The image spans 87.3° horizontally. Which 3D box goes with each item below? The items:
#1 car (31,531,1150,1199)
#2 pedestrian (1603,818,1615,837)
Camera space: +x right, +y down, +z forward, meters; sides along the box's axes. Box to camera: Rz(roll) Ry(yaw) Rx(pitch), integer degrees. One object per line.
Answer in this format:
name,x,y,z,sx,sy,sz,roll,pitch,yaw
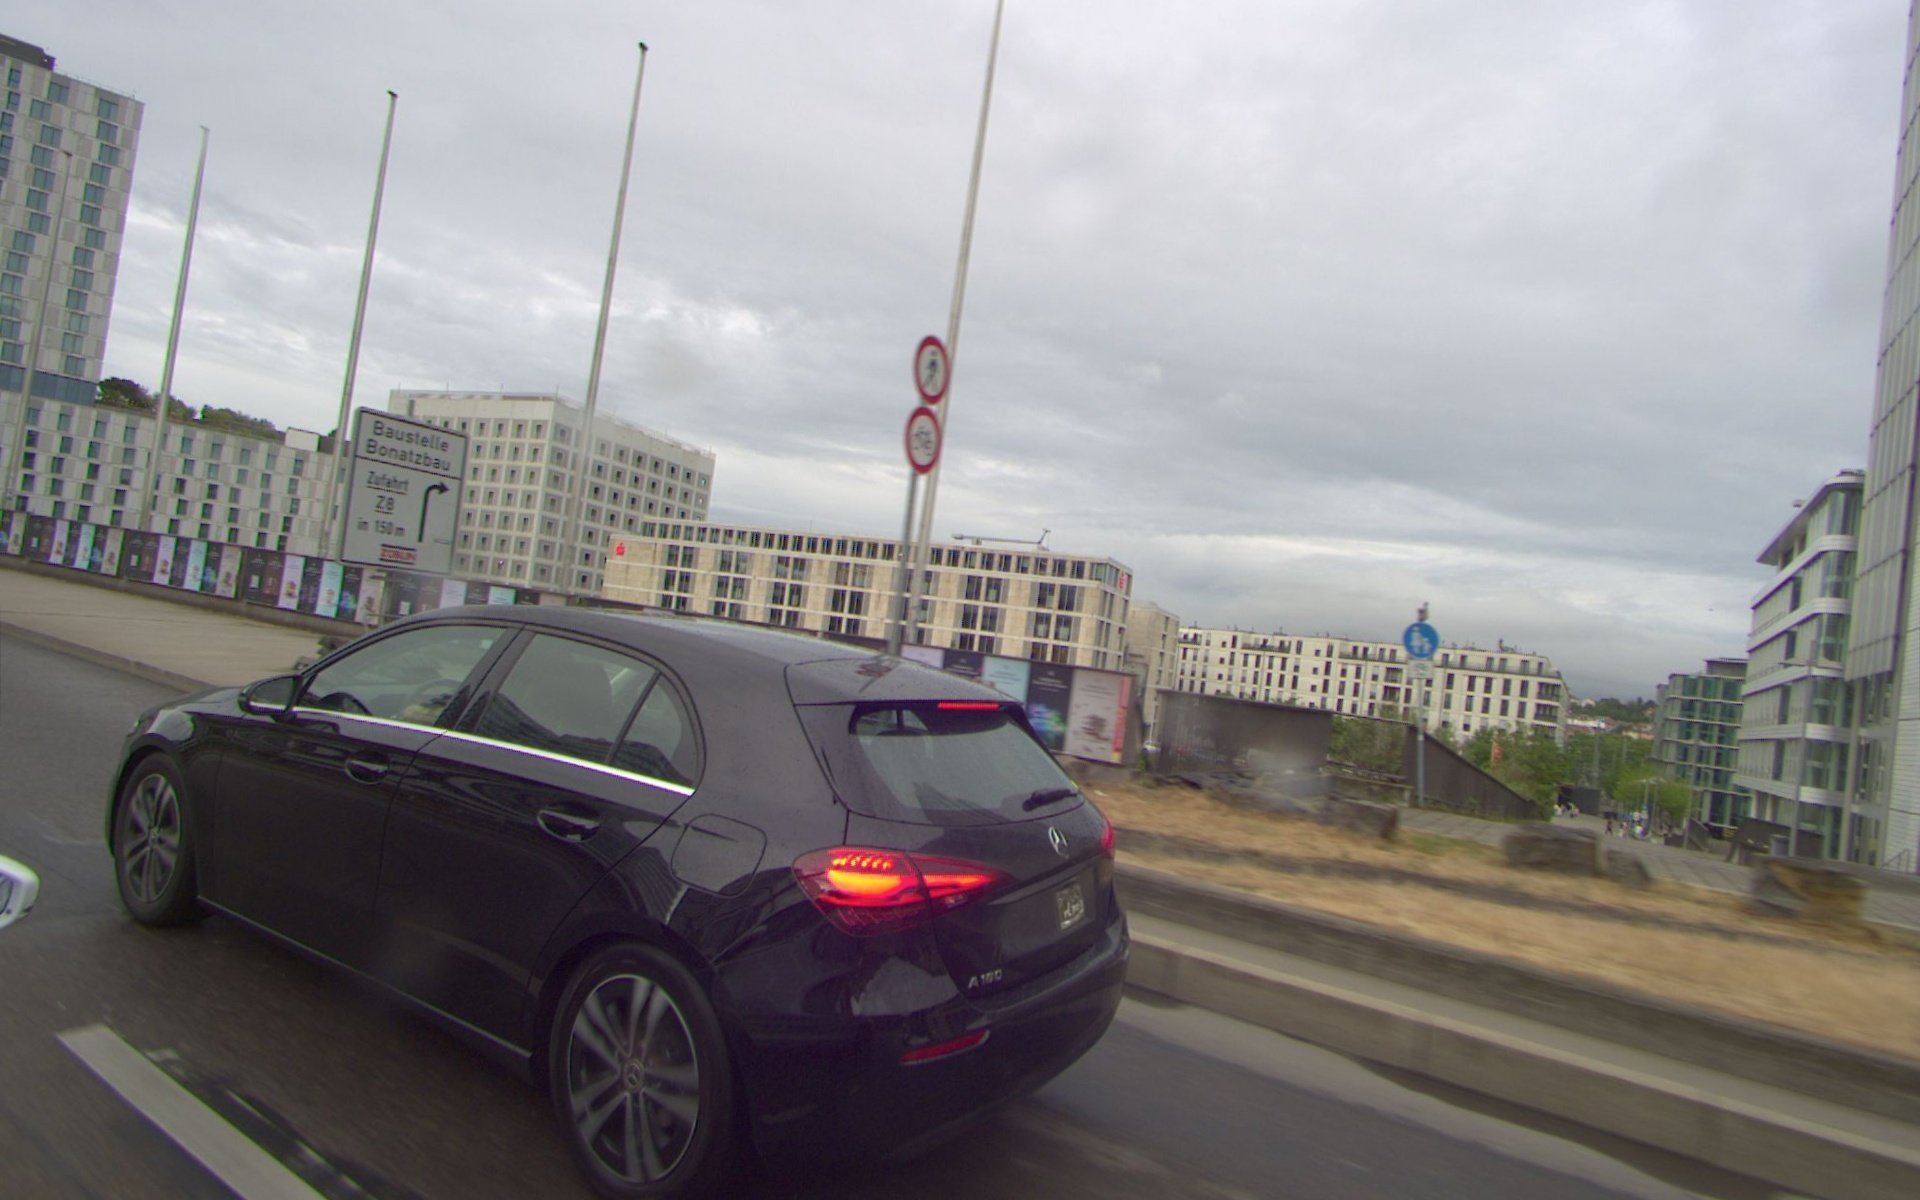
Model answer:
car,-1.583,0.646,3.826,4.087,1.392,1.726,5,-3,32
pedestrian,65.758,23.091,101.976,0.786,1.721,0.800,7,-2,26
